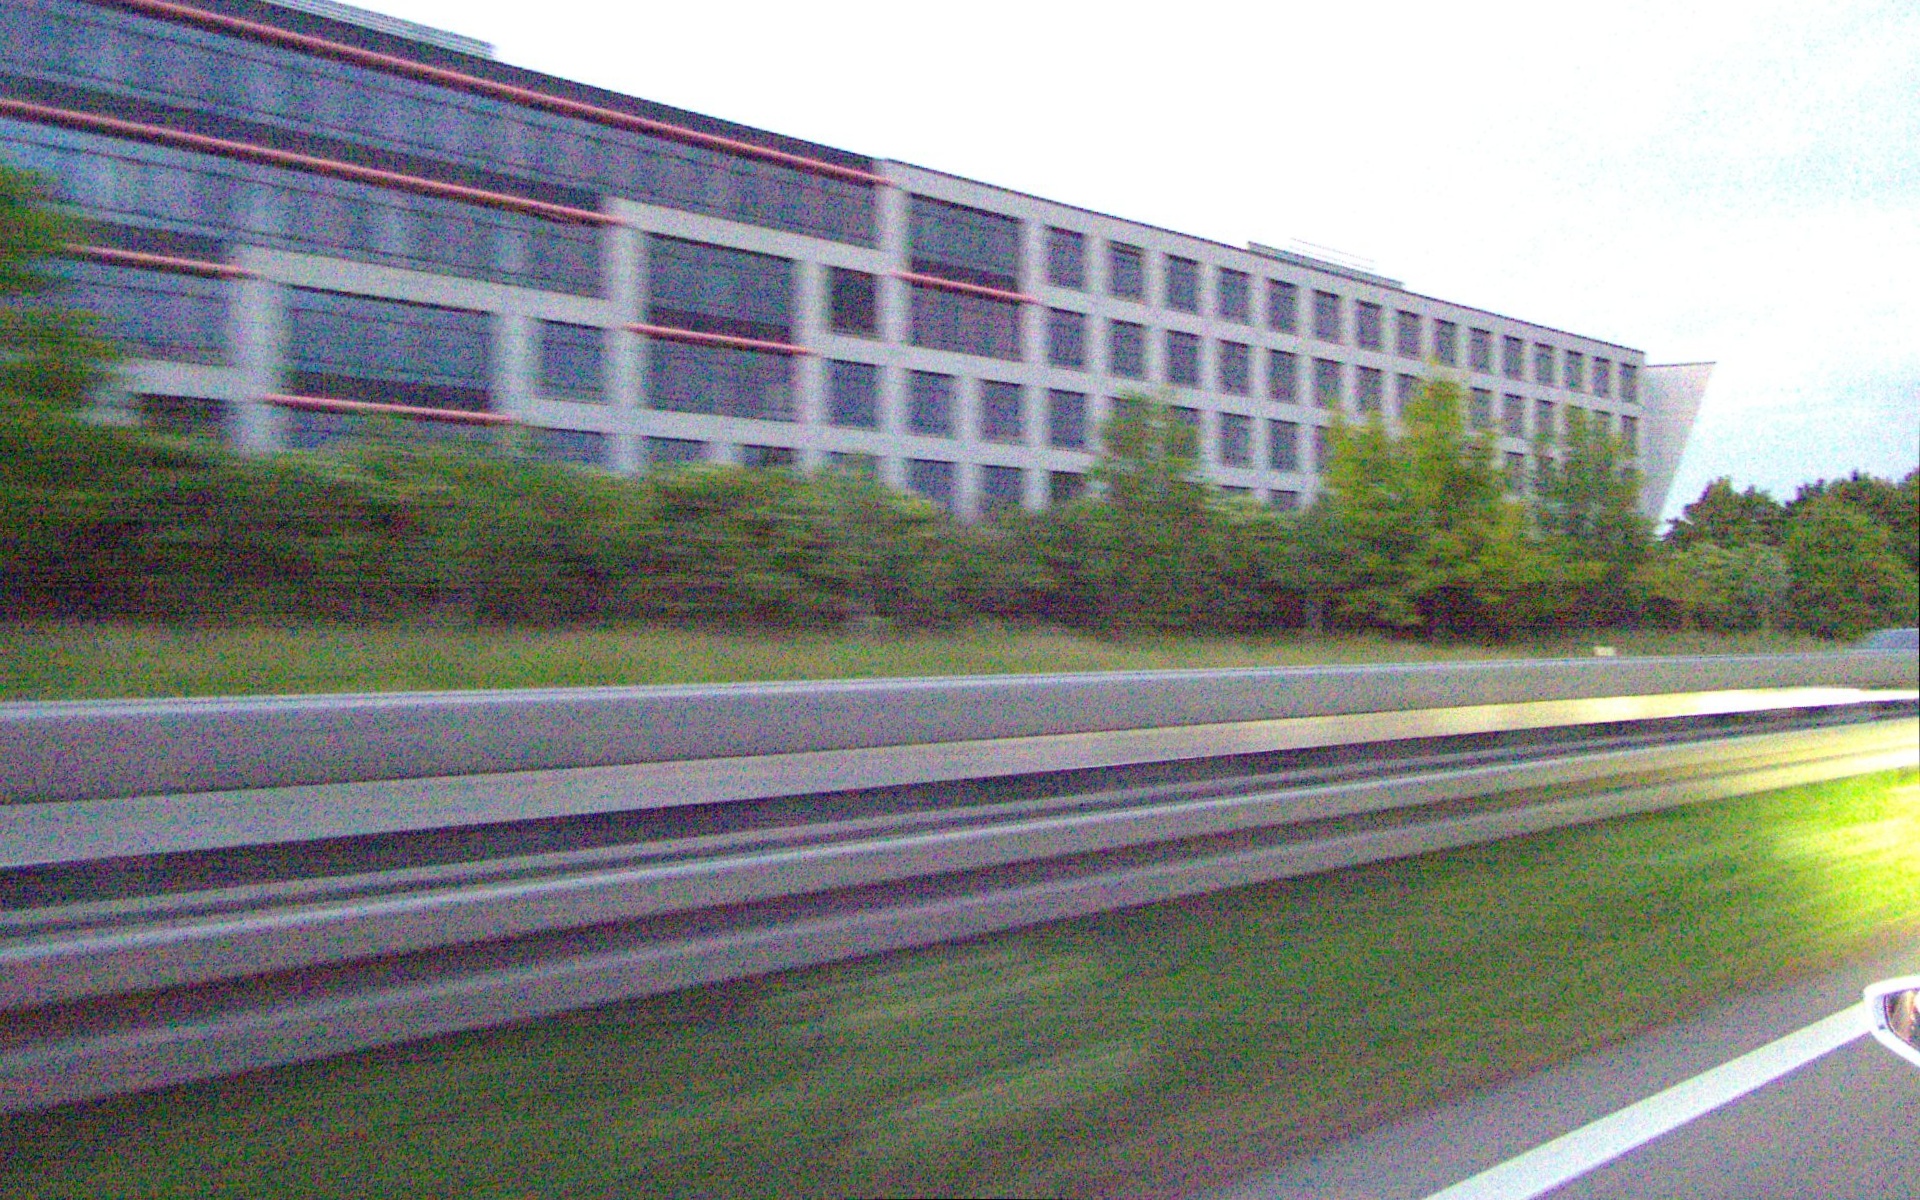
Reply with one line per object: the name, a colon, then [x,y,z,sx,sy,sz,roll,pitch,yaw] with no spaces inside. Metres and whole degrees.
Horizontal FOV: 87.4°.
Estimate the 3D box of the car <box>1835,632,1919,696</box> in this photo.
car: [23.704,1.539,24.964,3.800,1.488,1.827,1,-3,-31]
